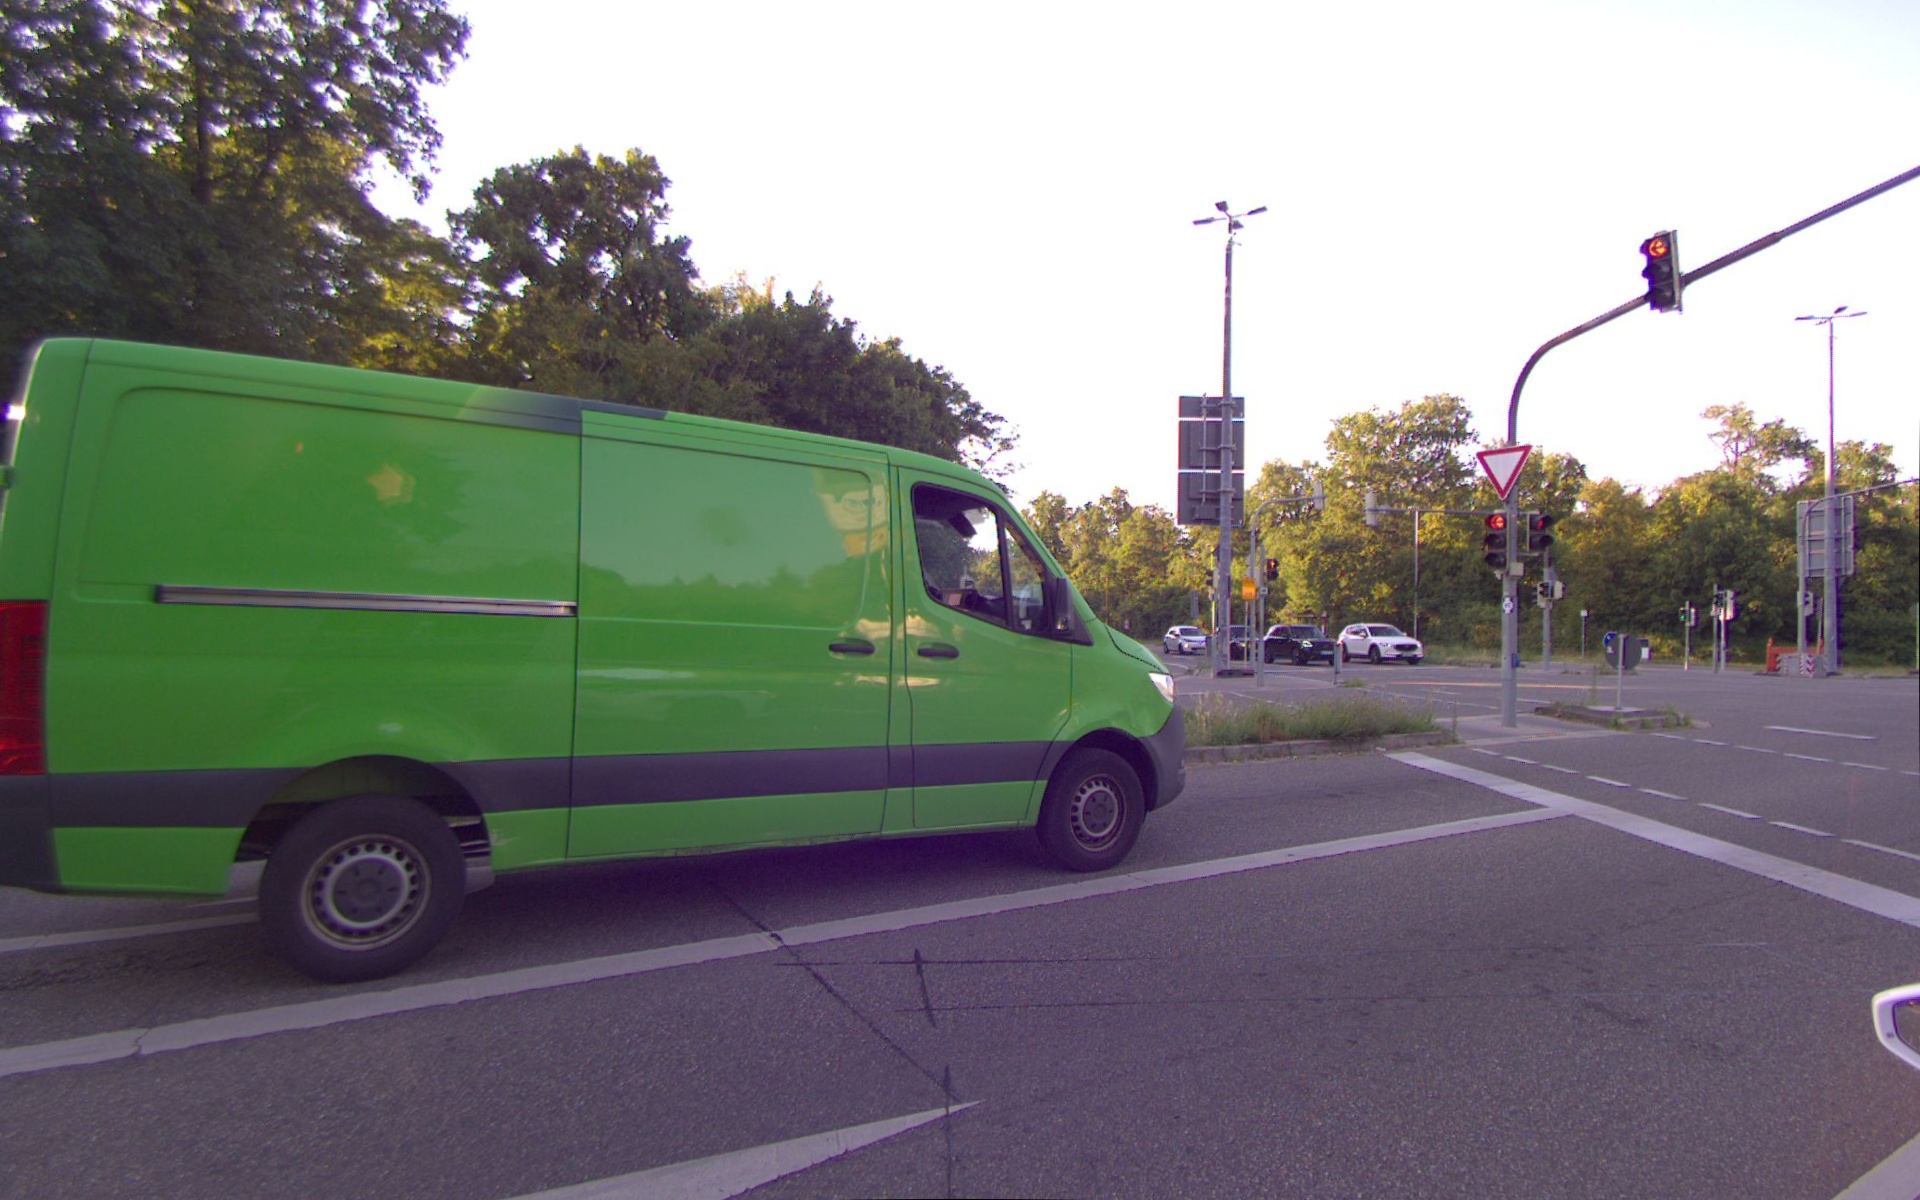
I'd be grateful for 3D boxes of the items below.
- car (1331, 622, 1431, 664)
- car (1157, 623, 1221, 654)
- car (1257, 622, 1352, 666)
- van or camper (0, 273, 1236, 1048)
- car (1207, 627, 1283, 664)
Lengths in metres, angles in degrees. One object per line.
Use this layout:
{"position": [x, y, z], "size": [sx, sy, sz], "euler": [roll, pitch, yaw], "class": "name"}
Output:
{"position": [17.565, 1.770, 42.142], "size": [1.963, 1.661, 4.252], "euler": [1, -1, -8], "class": "car"}
{"position": [12.758, 2.130, 56.239], "size": [1.964, 1.661, 4.250], "euler": [1, -1, -10], "class": "car"}
{"position": [13.878, 1.744, 40.737], "size": [1.963, 1.661, 4.252], "euler": [1, -1, -8], "class": "car"}
{"position": [-1.289, 0.261, 5.455], "size": [5.830, 2.453, 1.983], "euler": [1, -1, -32], "class": "van or camper"}
{"position": [13.570, 2.148, 48.086], "size": [1.963, 1.661, 4.252], "euler": [1, -1, -8], "class": "car"}
